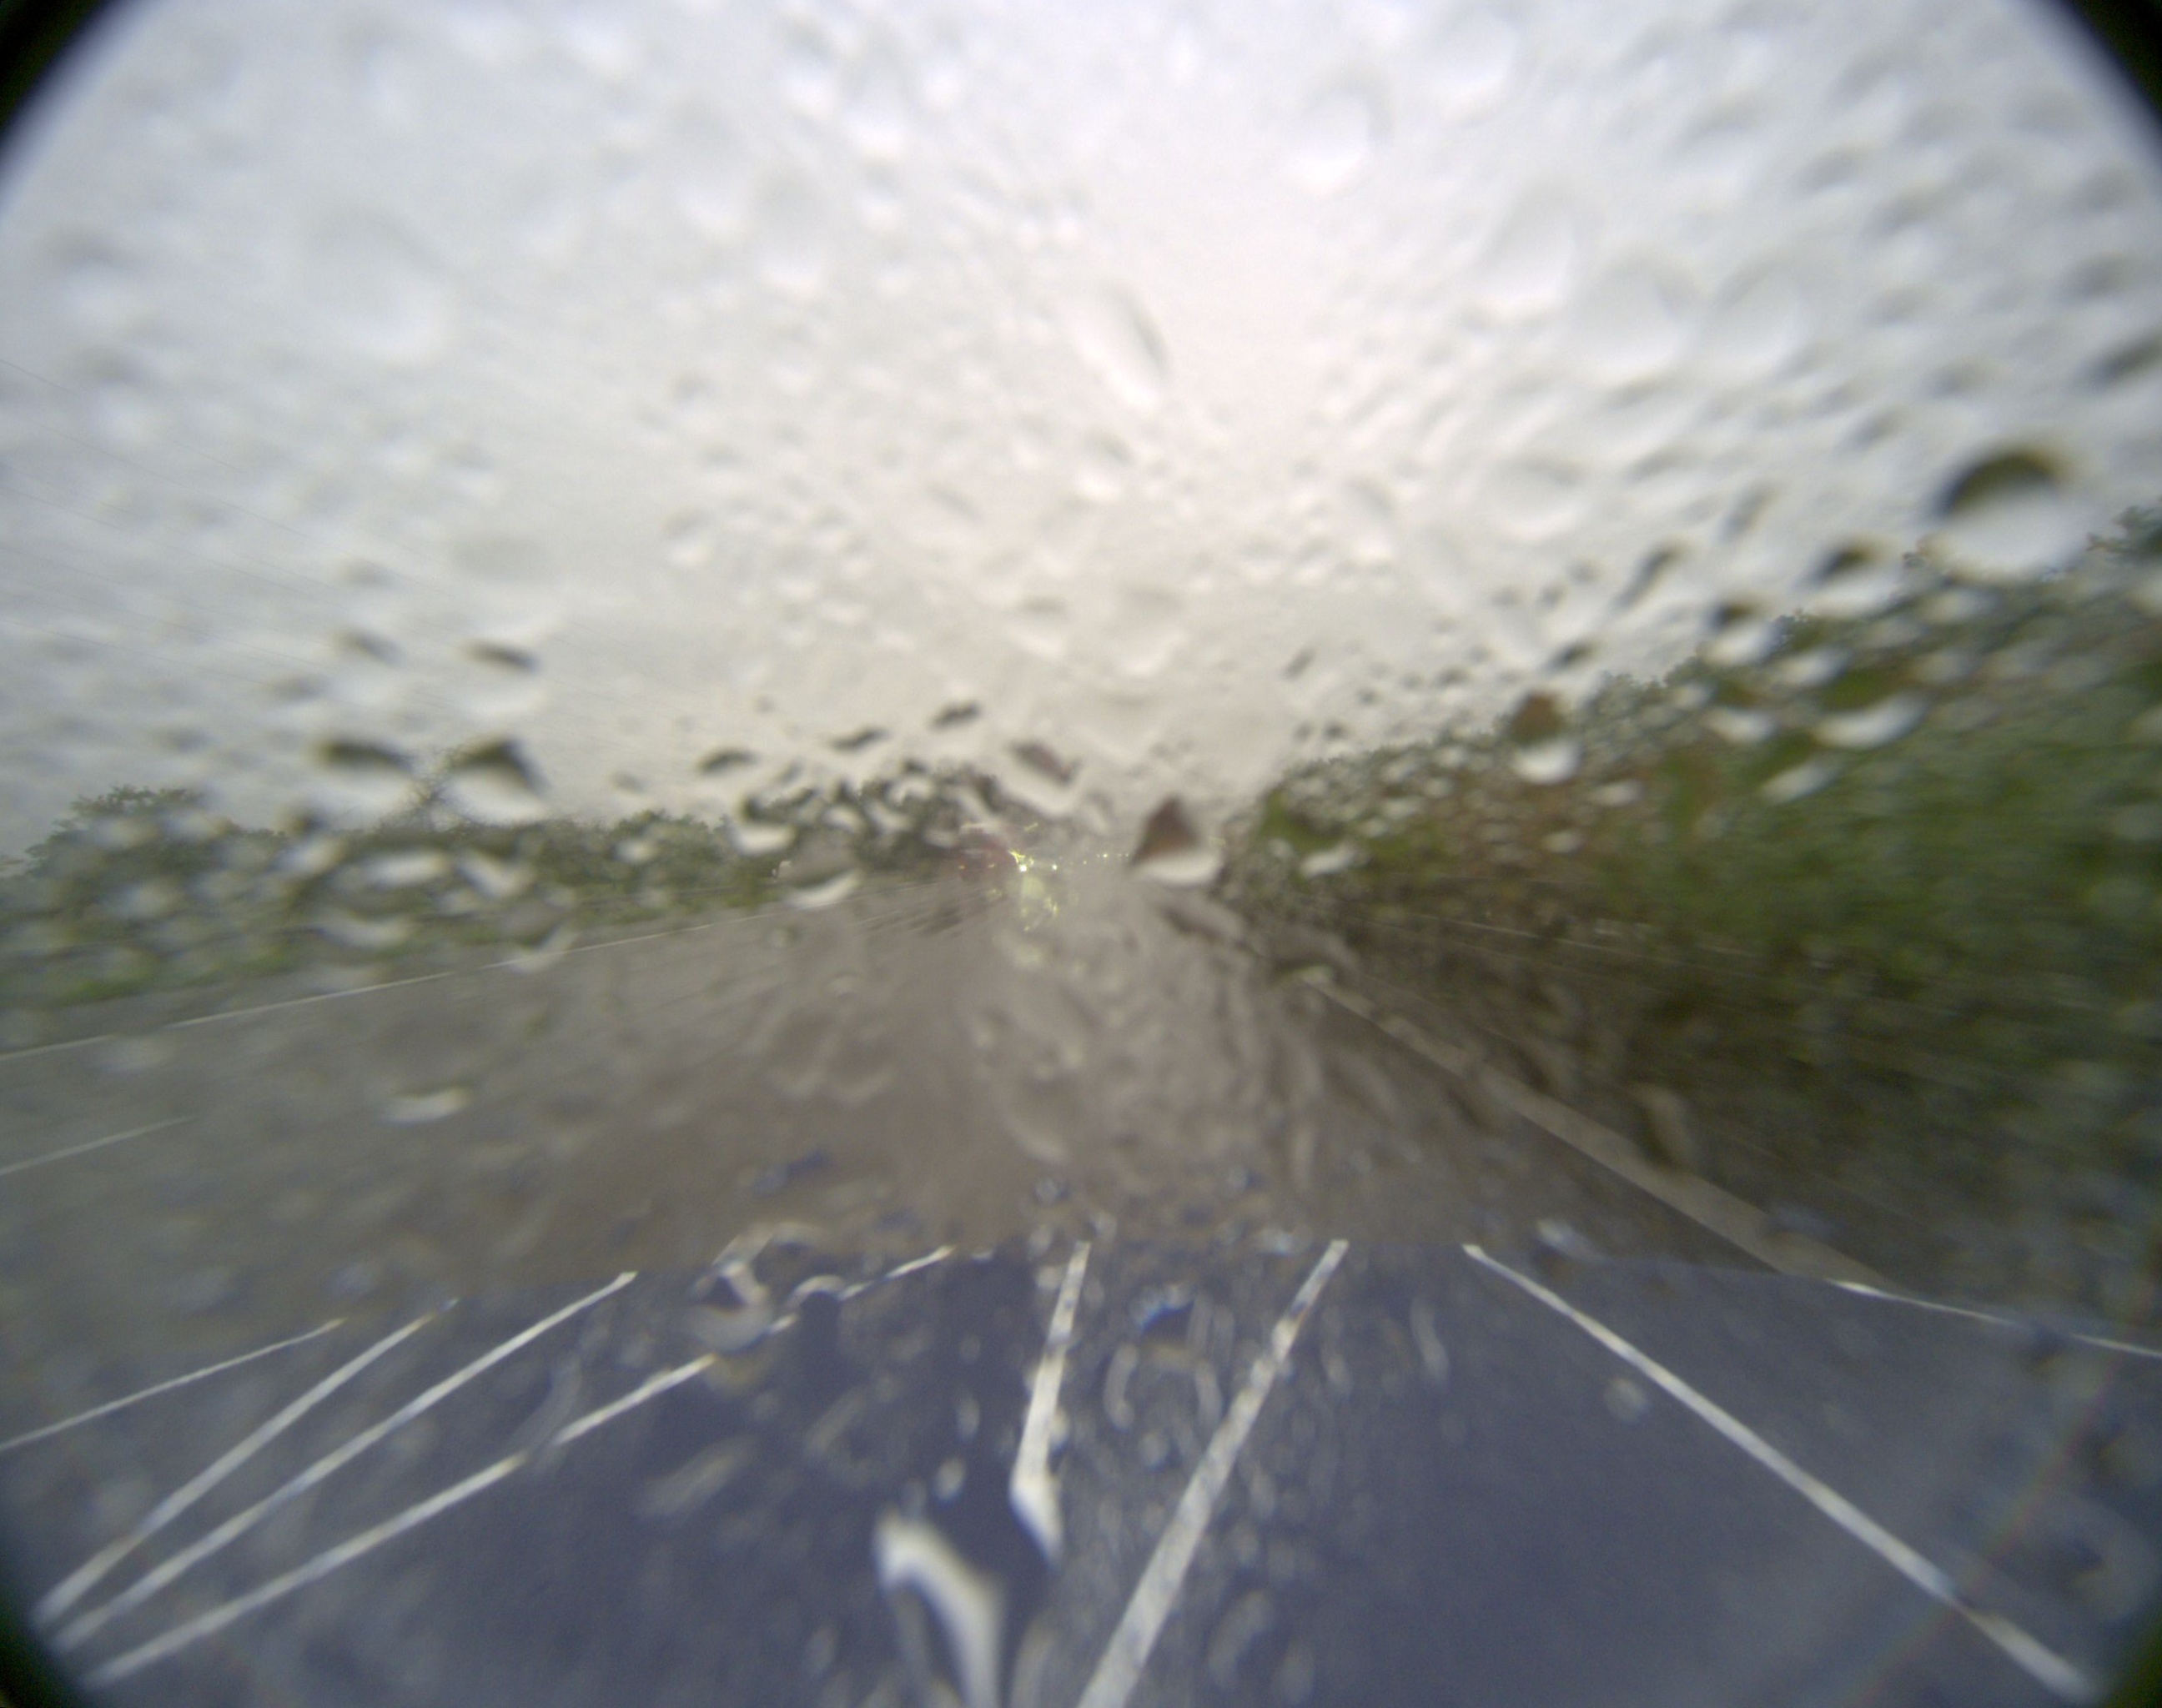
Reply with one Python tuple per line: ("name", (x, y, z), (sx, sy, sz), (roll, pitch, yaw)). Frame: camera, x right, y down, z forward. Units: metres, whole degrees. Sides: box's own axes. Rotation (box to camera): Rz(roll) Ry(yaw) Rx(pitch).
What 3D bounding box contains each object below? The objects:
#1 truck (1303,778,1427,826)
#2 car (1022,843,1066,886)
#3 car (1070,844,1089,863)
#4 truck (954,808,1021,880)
("truck", (19.221, -3.366, 53.223), (3.170, 2.305, 16.080), (-3, 1, 2))
("car", (-1.853, 0.481, 39.156), (1.999, 2.002, 3.999), (-3, 1, -1))
("car", (-0.177, -0.090, 85.496), (1.998, 2.002, 3.999), (-2, 1, 1))
("truck", (-6.614, -0.695, 55.890), (3.136, 4.642, 11.403), (-2, 1, 1))
